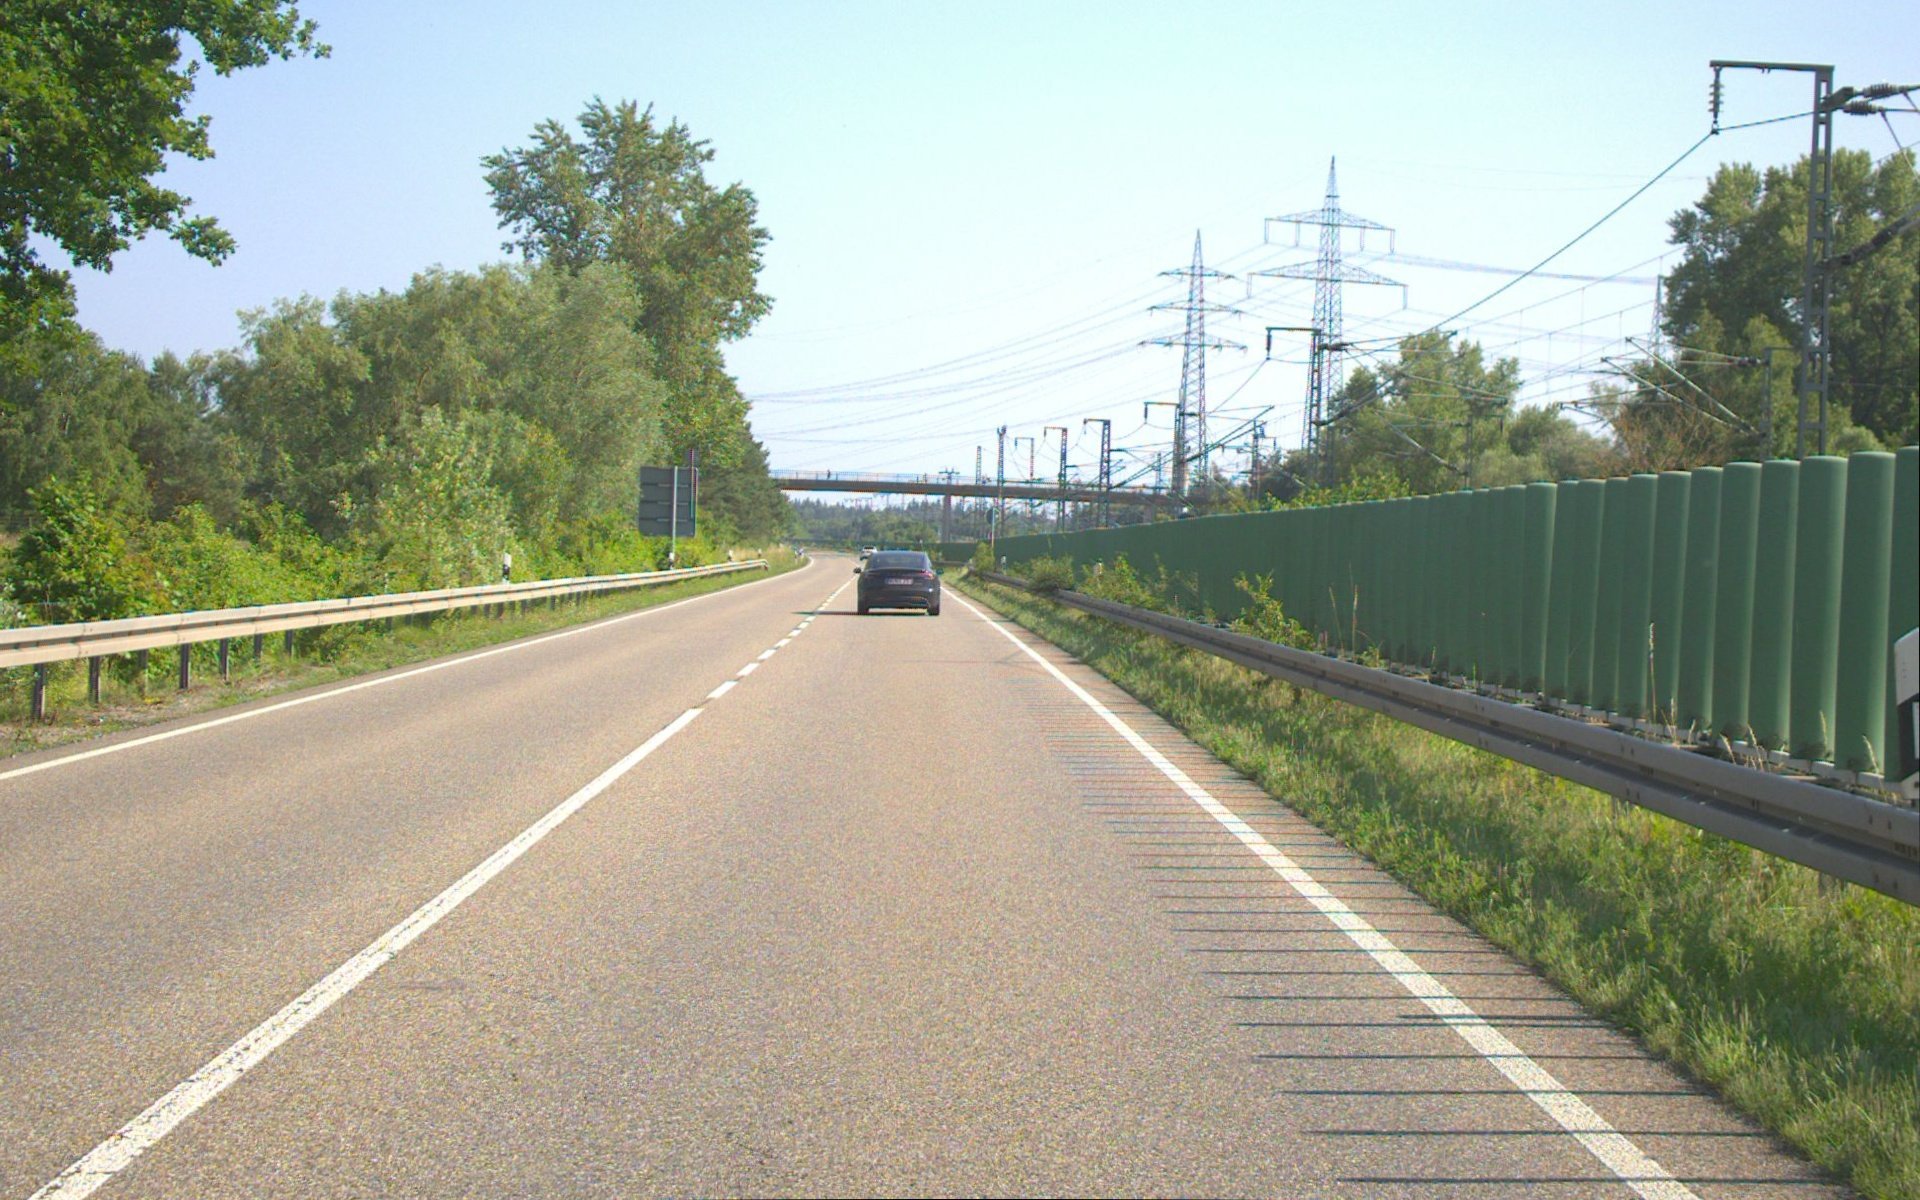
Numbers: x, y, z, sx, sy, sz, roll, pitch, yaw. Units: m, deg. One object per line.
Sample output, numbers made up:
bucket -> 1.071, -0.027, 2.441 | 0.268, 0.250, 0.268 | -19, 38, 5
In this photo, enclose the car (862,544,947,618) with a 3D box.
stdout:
car -> -1.277, -0.436, 77.576 | 1.858, 1.636, 4.000 | 0, 1, -2
